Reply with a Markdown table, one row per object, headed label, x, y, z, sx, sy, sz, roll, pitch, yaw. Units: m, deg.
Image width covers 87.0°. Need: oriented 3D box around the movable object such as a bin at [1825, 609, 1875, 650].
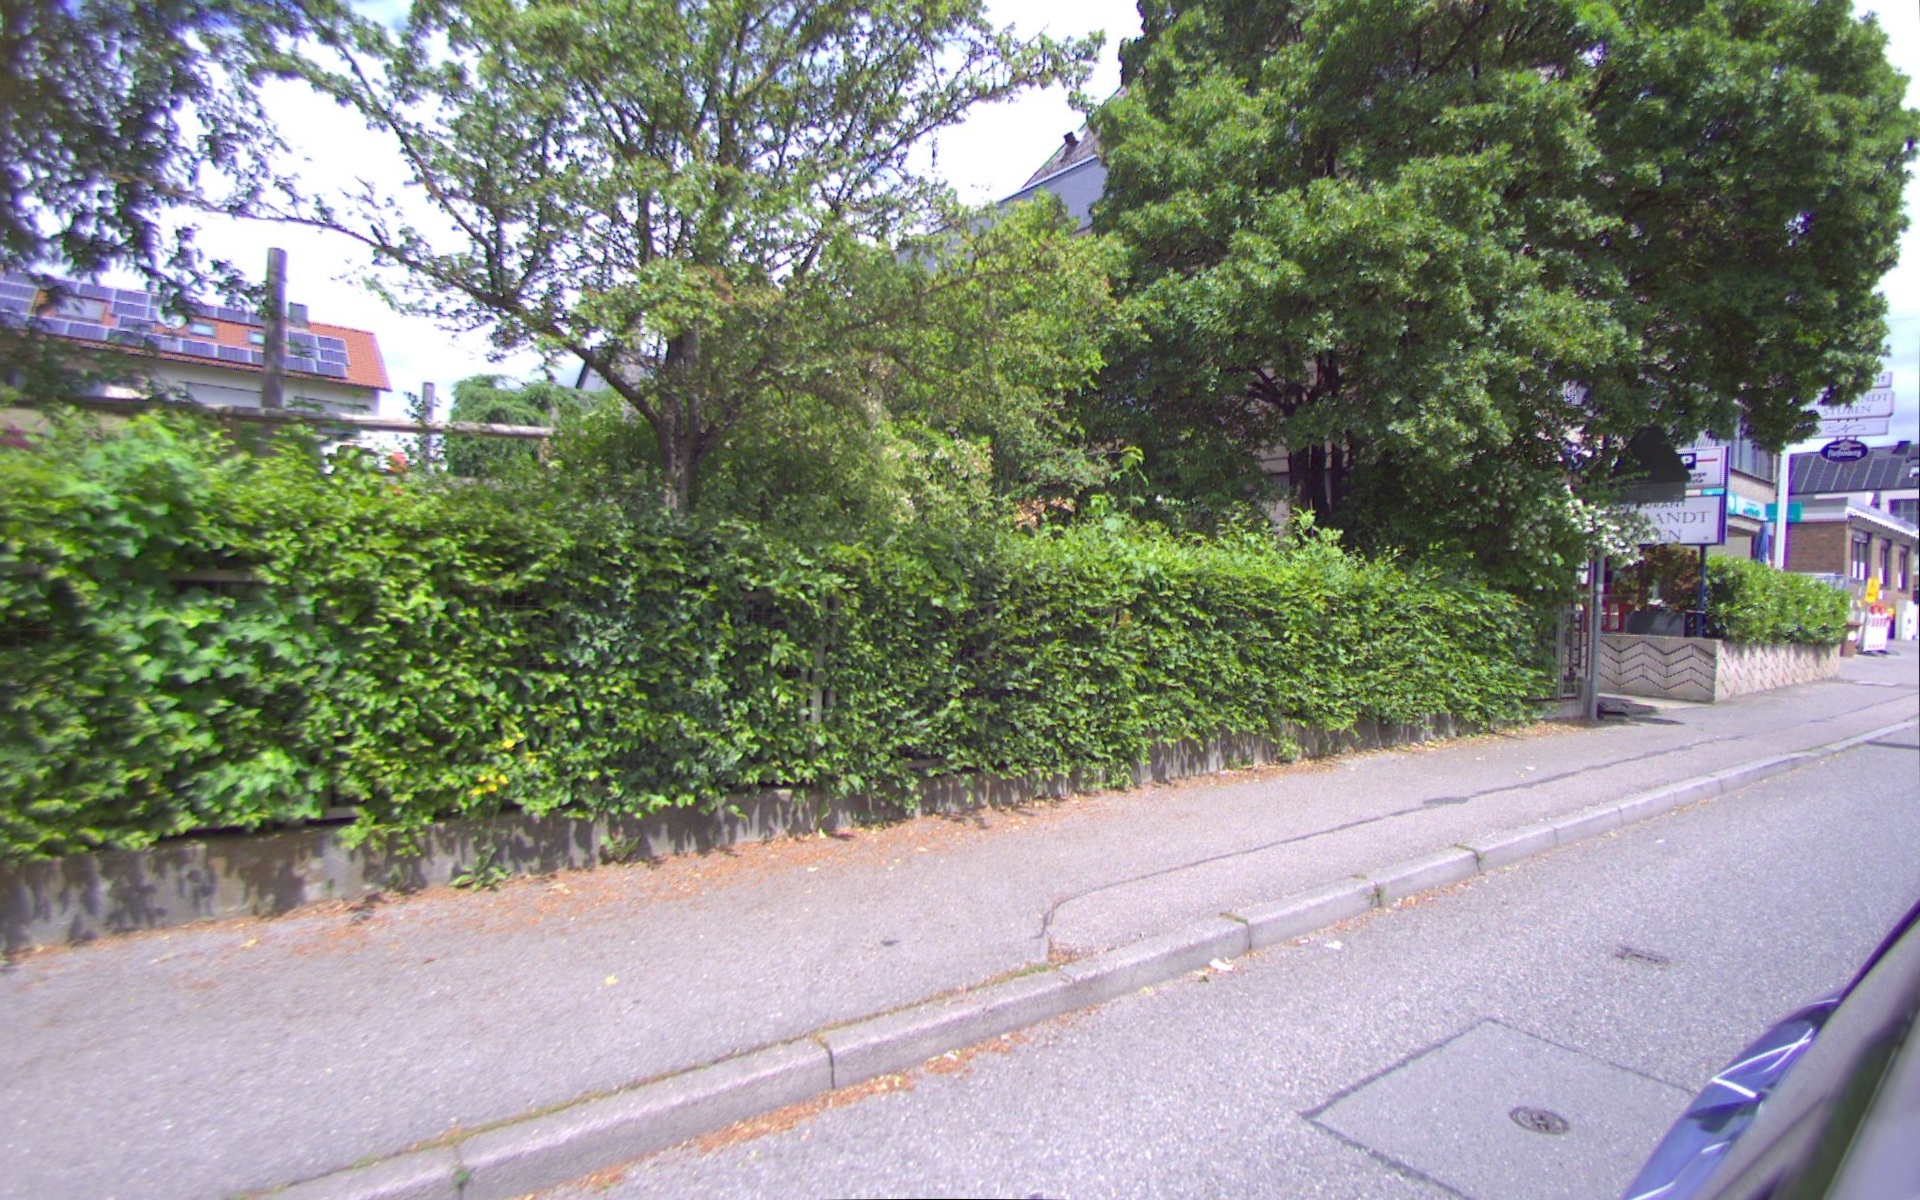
| label | x | y | z | sx | sy | sz | roll | pitch | yaw |
| --- | --- | --- | --- | --- | --- | --- | --- | --- | --- |
| movable object such as a bin | 22.140 | 0.722 | 25.188 | 0.461 | 0.925 | 0.790 | 1 | 6 | -38 |
